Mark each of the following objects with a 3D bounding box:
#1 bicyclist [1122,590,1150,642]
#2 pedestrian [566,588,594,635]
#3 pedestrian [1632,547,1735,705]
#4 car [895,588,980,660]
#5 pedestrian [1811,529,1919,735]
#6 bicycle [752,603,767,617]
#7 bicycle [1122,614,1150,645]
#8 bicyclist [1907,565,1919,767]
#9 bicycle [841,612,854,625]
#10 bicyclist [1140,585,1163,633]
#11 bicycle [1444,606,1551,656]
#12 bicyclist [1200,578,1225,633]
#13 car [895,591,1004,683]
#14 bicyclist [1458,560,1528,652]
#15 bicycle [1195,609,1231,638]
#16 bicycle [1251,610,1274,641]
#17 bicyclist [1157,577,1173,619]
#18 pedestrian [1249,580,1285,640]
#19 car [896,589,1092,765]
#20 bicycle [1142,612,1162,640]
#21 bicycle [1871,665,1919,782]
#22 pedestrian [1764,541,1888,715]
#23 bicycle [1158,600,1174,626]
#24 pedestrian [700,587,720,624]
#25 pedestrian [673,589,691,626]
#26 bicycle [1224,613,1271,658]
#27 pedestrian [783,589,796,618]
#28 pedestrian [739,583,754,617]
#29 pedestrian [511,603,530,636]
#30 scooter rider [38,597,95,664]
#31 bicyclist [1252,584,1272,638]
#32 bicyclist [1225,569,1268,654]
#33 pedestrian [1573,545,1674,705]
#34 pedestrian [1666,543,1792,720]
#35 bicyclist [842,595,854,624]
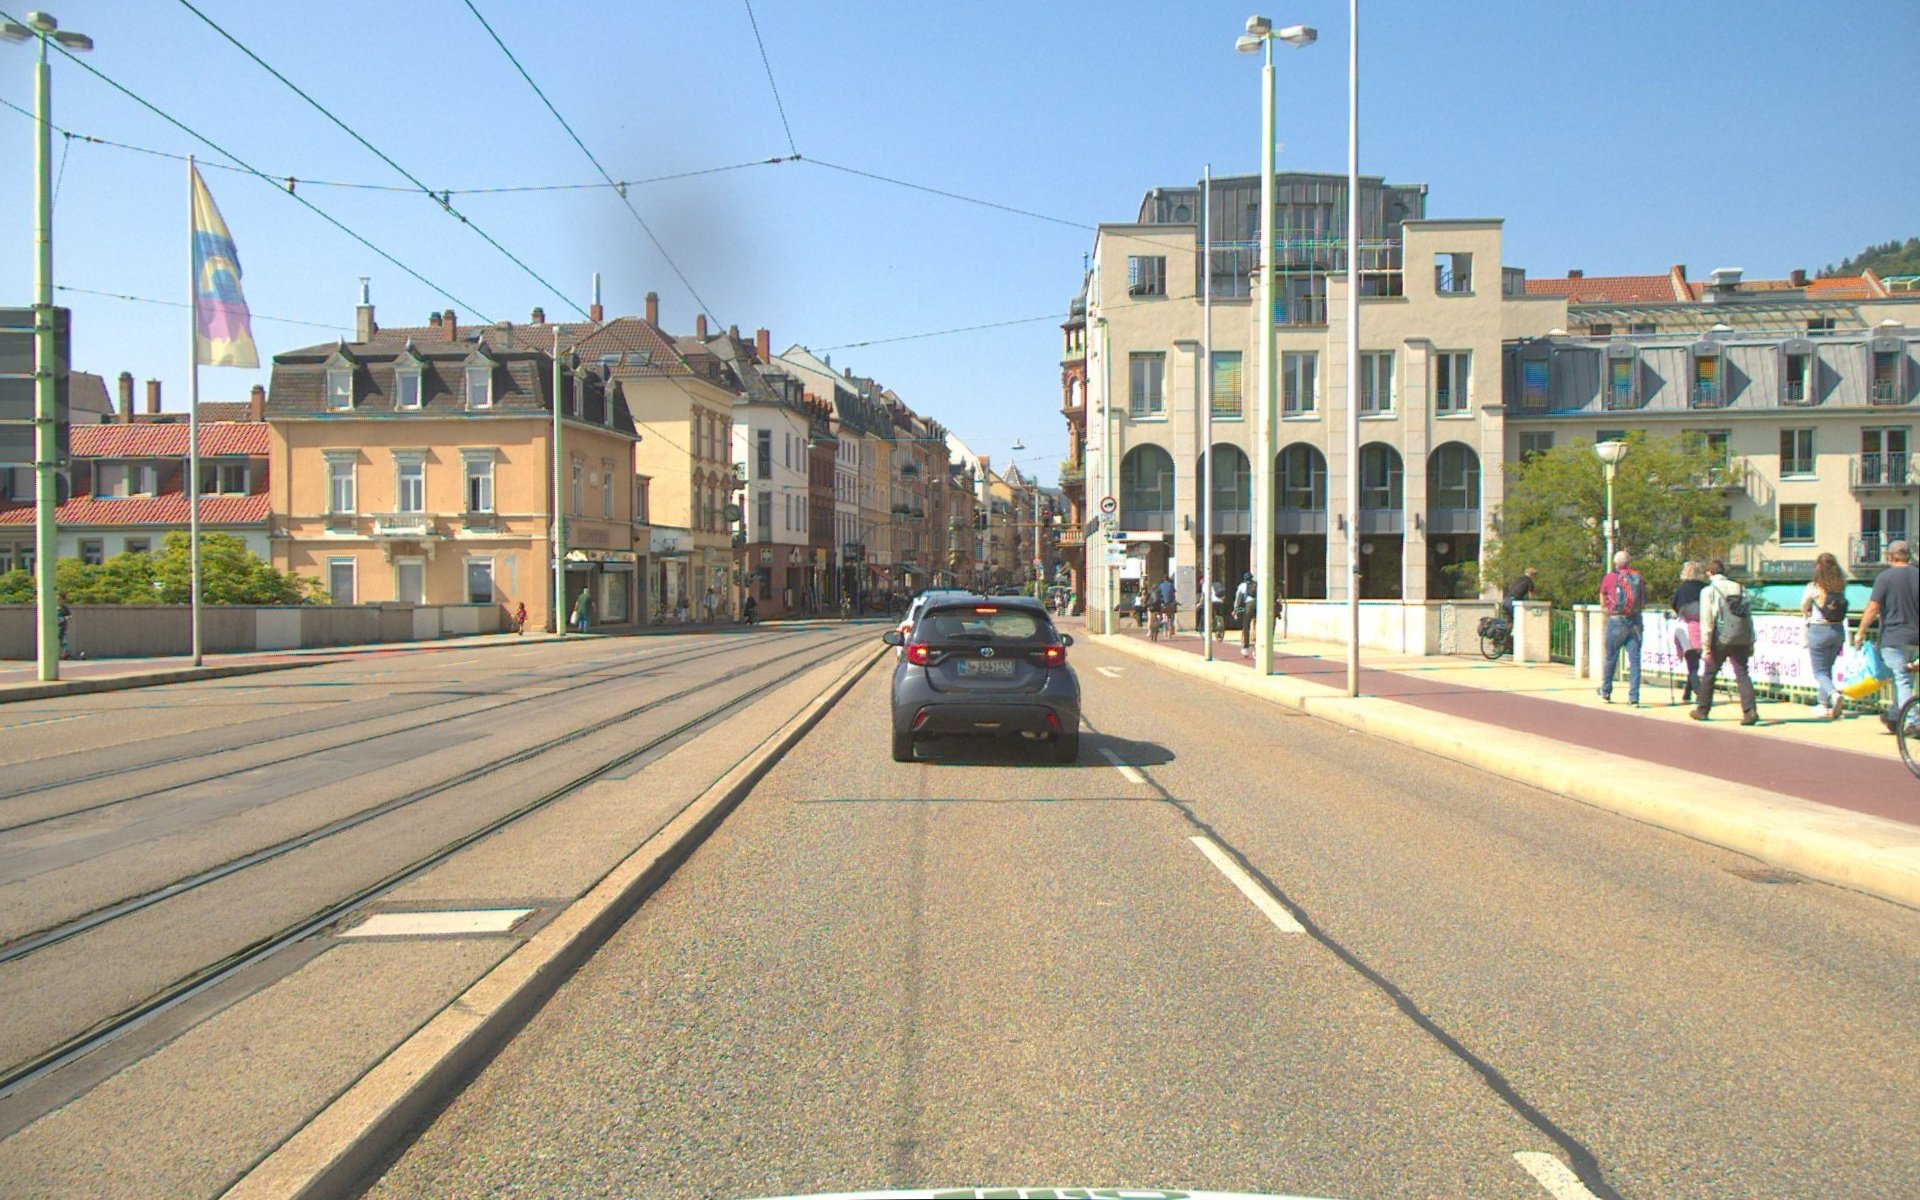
[{"bbox_3d":[9.006,0.825,84.717,1.203,2.572,1.105,4,0,2],"label":"bicyclist"},{"bbox_3d":[-14.356,0.431,62.458,0.746,1.682,0.712,4,0,6],"label":"pedestrian"},{"bbox_3d":[8.604,0.294,19.702,0.724,1.808,1.015,-2,0,-1],"label":"pedestrian"},{"bbox_3d":[-0.537,0.527,38.675,1.859,1.557,3.999,1,0,-1],"label":"car"},{"bbox_3d":[8.661,0.271,15.237,0.957,1.808,1.207,-2,0,-1],"label":"pedestrian"},{"bbox_3d":[-10.940,0.536,90.158,0.607,0.728,1.771,1,1,0],"label":"bicycle"},{"bbox_3d":[8.978,1.488,84.607,1.089,1.444,3.008,4,0,2],"label":"bicycle"},{"bbox_3d":[6.923,0.450,11.262,0.523,1.407,0.669,-2,0,-1],"label":"bicyclist"},{"bbox_3d":[-6.825,1.099,100.426,0.607,0.728,1.771,1,1,0],"label":"bicycle"},{"bbox_3d":[5.508,0.254,47.614,0.527,1.339,0.672,-2,0,1],"label":"bicyclist"},{"bbox_3d":[10.365,0.588,31.929,1.786,0.898,0.799,-1,0,-4],"label":"bicycle"},{"bbox_3d":[7.025,0.150,45.995,0.480,1.492,0.437,-2,0,-40],"label":"bicyclist"},{"bbox_3d":[-0.205,0.627,30.491,1.859,1.557,3.999,1,0,-1],"label":"car"},{"bbox_3d":[10.289,0.111,31.934,0.903,1.725,1.142,-1,0,-4],"label":"bicyclist"},{"bbox_3d":[7.035,0.667,46.014,0.414,0.779,0.948,-2,0,-39],"label":"bicycle"},{"bbox_3d":[7.958,0.658,43.507,0.408,0.779,0.961,-2,0,0],"label":"bicycle"},{"bbox_3d":[6.322,-0.051,50.912,0.413,1.278,0.443,-2,0,2],"label":"bicyclist"},{"bbox_3d":[8.765,0.291,47.241,0.724,1.642,1.015,4,0,-1],"label":"pedestrian"},{"bbox_3d":[0.271,0.666,16.228,1.685,1.499,3.657,1,0,-1],"label":"car"},{"bbox_3d":[5.537,0.753,47.714,0.408,0.779,1.205,-2,0,1],"label":"bicycle"},{"bbox_3d":[6.938,0.869,11.281,0.503,0.779,1.660,-2,0,0],"label":"bicycle"},{"bbox_3d":[9.197,0.285,17.608,0.724,1.777,1.015,-2,0,-1],"label":"pedestrian"},{"bbox_3d":[6.333,0.395,50.876,0.407,0.779,0.962,-2,0,2],"label":"bicycle"},{"bbox_3d":[-12.369,0.264,81.814,0.721,1.797,0.787,4,0,0],"label":"pedestrian"},{"bbox_3d":[-12.915,0.350,76.953,0.636,1.629,0.566,4,2,0],"label":"pedestrian"},{"bbox_3d":[5.969,0.728,34.408,0.689,0.898,1.525,-1,0,0],"label":"bicycle"},{"bbox_3d":[-10.554,0.200,102.618,0.721,1.797,0.787,0,1,-1],"label":"pedestrian"},{"bbox_3d":[-11.629,-0.002,90.020,0.721,1.797,0.787,0,1,-1],"label":"pedestrian"},{"bbox_3d":[-15.781,0.698,59.370,0.403,1.166,0.545,4,0,5],"label":"pedestrian"},{"bbox_3d":[-18.659,0.626,34.540,0.752,1.338,0.598,4,0,11],"label":"scooter rider"},{"bbox_3d":[7.945,0.281,43.513,0.413,1.407,0.443,-2,0,-1],"label":"bicyclist"},{"bbox_3d":[5.959,0.236,34.439,0.687,1.725,0.924,-1,0,0],"label":"bicyclist"},{"bbox_3d":[7.853,0.287,19.604,0.724,1.833,1.015,-2,0,-1],"label":"pedestrian"},{"bbox_3d":[7.933,0.312,17.104,0.739,1.748,1.073,-2,0,-1],"label":"pedestrian"},{"bbox_3d":[-6.797,0.571,100.305,0.614,1.679,0.622,1,1,0],"label":"bicyclist"}]
